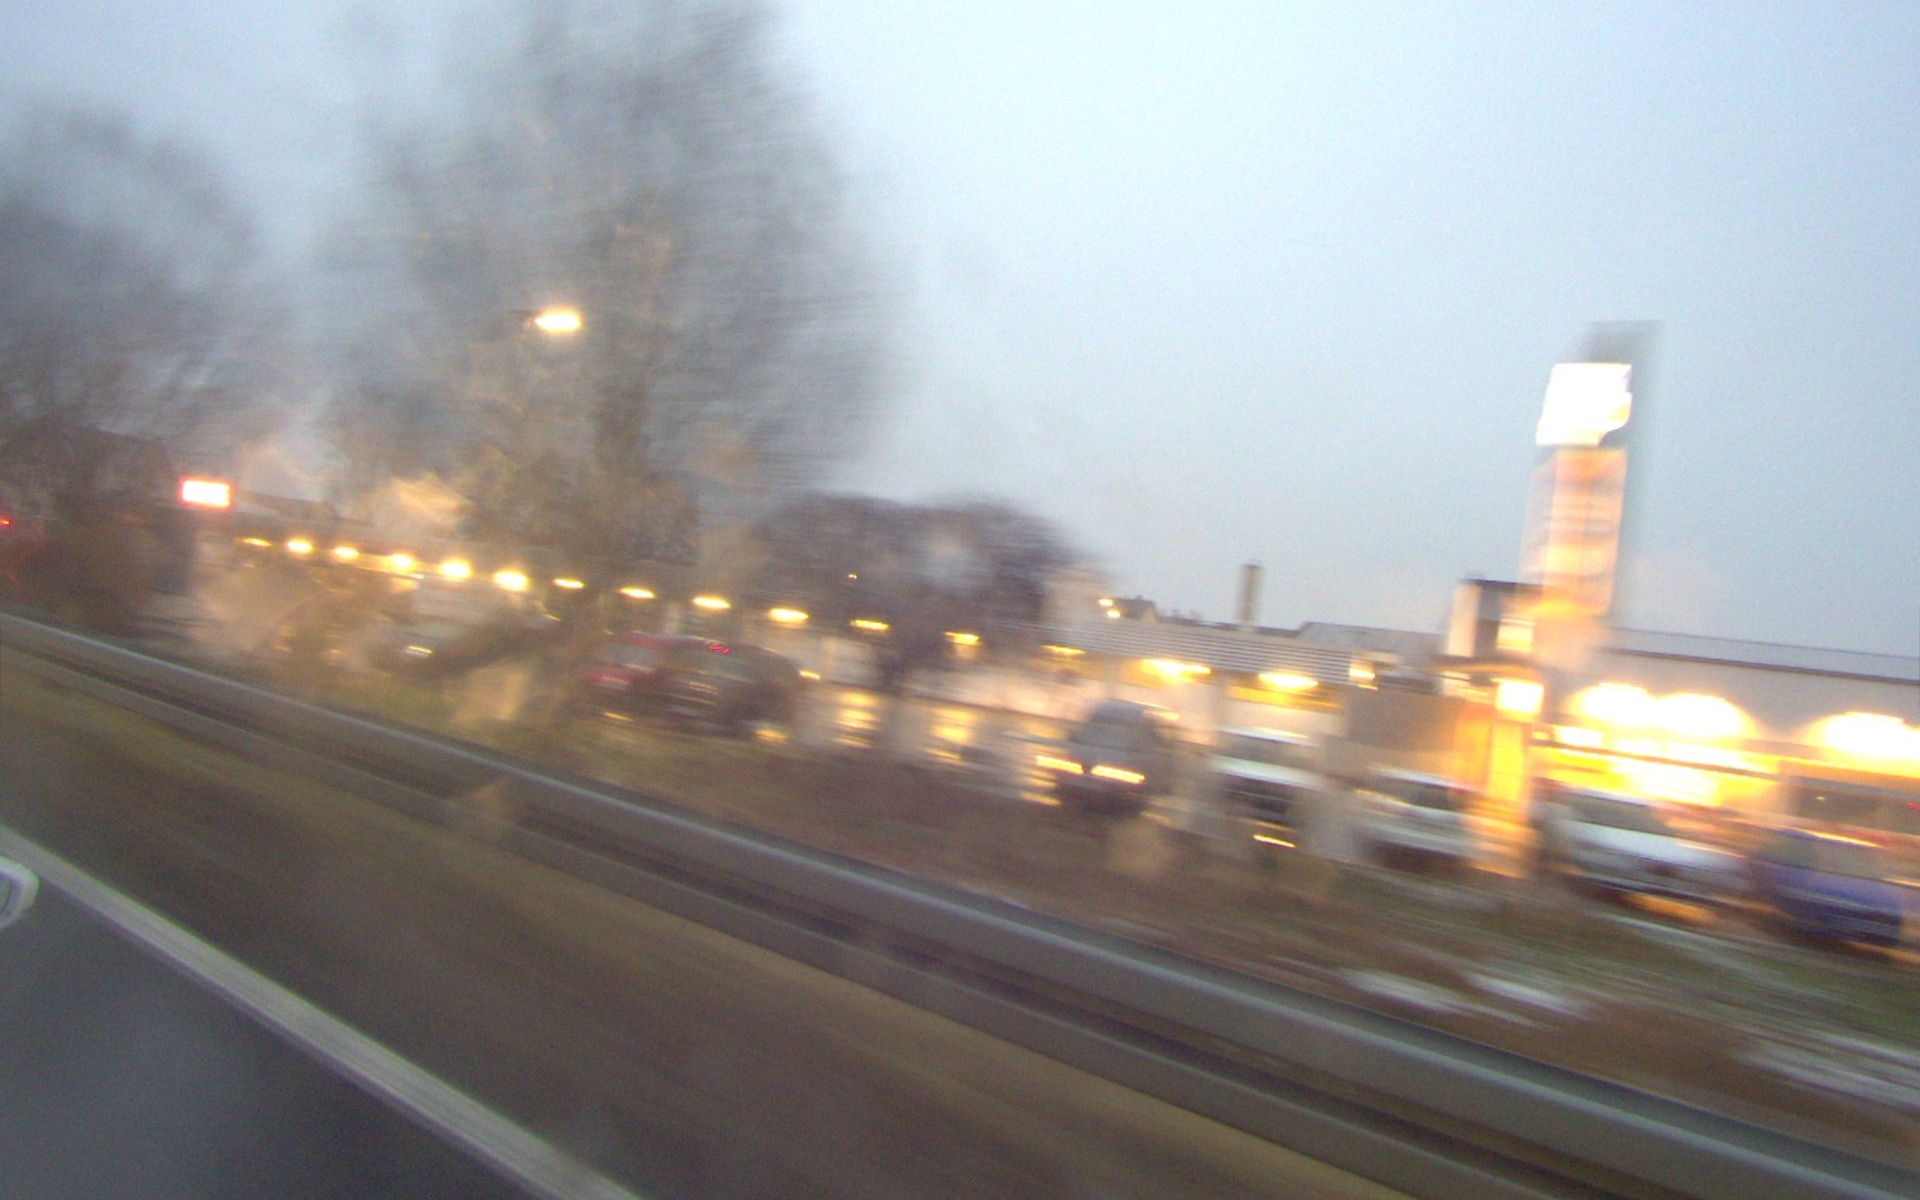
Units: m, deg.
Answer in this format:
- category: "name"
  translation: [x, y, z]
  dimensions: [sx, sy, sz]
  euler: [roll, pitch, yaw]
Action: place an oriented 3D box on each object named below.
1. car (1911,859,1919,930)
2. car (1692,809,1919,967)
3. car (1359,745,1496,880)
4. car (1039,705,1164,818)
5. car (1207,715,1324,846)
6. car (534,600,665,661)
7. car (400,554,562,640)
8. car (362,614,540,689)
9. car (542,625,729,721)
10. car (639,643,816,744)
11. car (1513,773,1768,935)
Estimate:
- category: "car"
  translation: [16.199, 4.432, 14.257]
  dimensions: [1.962, 1.875, 4.267]
  euler: [8, -2, 15]
- category: "car"
  translation: [13.116, 4.261, 15.130]
  dimensions: [1.962, 1.493, 3.884]
  euler: [8, -4, 15]
- category: "car"
  translation: [7.916, 3.520, 17.368]
  dimensions: [1.631, 1.440, 4.140]
  euler: [6, -1, 20]
- category: "car"
  translation: [2.774, 2.877, 18.812]
  dimensions: [1.631, 1.506, 4.742]
  euler: [6, -3, 15]
- category: "car"
  translation: [5.530, 3.132, 18.303]
  dimensions: [1.631, 1.855, 4.149]
  euler: [6, -4, 17]
- category: "car"
  translation: [-13.285, 1.170, 37.306]
  dimensions: [4.300, 1.781, 2.096]
  euler: [7, -4, -17]
- category: "car"
  translation: [-19.679, -0.036, 41.641]
  dimensions: [5.547, 2.806, 2.096]
  euler: [7, -4, -17]
- category: "car"
  translation: [-12.249, 1.299, 24.453]
  dimensions: [1.632, 1.439, 3.552]
  euler: [6, -4, 22]
- category: "car"
  translation: [-7.216, 1.655, 22.861]
  dimensions: [1.983, 1.744, 4.147]
  euler: [7, -2, 14]
- category: "car"
  translation: [-4.882, 1.987, 21.819]
  dimensions: [1.983, 1.749, 4.147]
  euler: [6, -3, 13]
- category: "car"
  translation: [10.850, 3.965, 16.469]
  dimensions: [1.962, 1.647, 4.270]
  euler: [9, -3, 15]
